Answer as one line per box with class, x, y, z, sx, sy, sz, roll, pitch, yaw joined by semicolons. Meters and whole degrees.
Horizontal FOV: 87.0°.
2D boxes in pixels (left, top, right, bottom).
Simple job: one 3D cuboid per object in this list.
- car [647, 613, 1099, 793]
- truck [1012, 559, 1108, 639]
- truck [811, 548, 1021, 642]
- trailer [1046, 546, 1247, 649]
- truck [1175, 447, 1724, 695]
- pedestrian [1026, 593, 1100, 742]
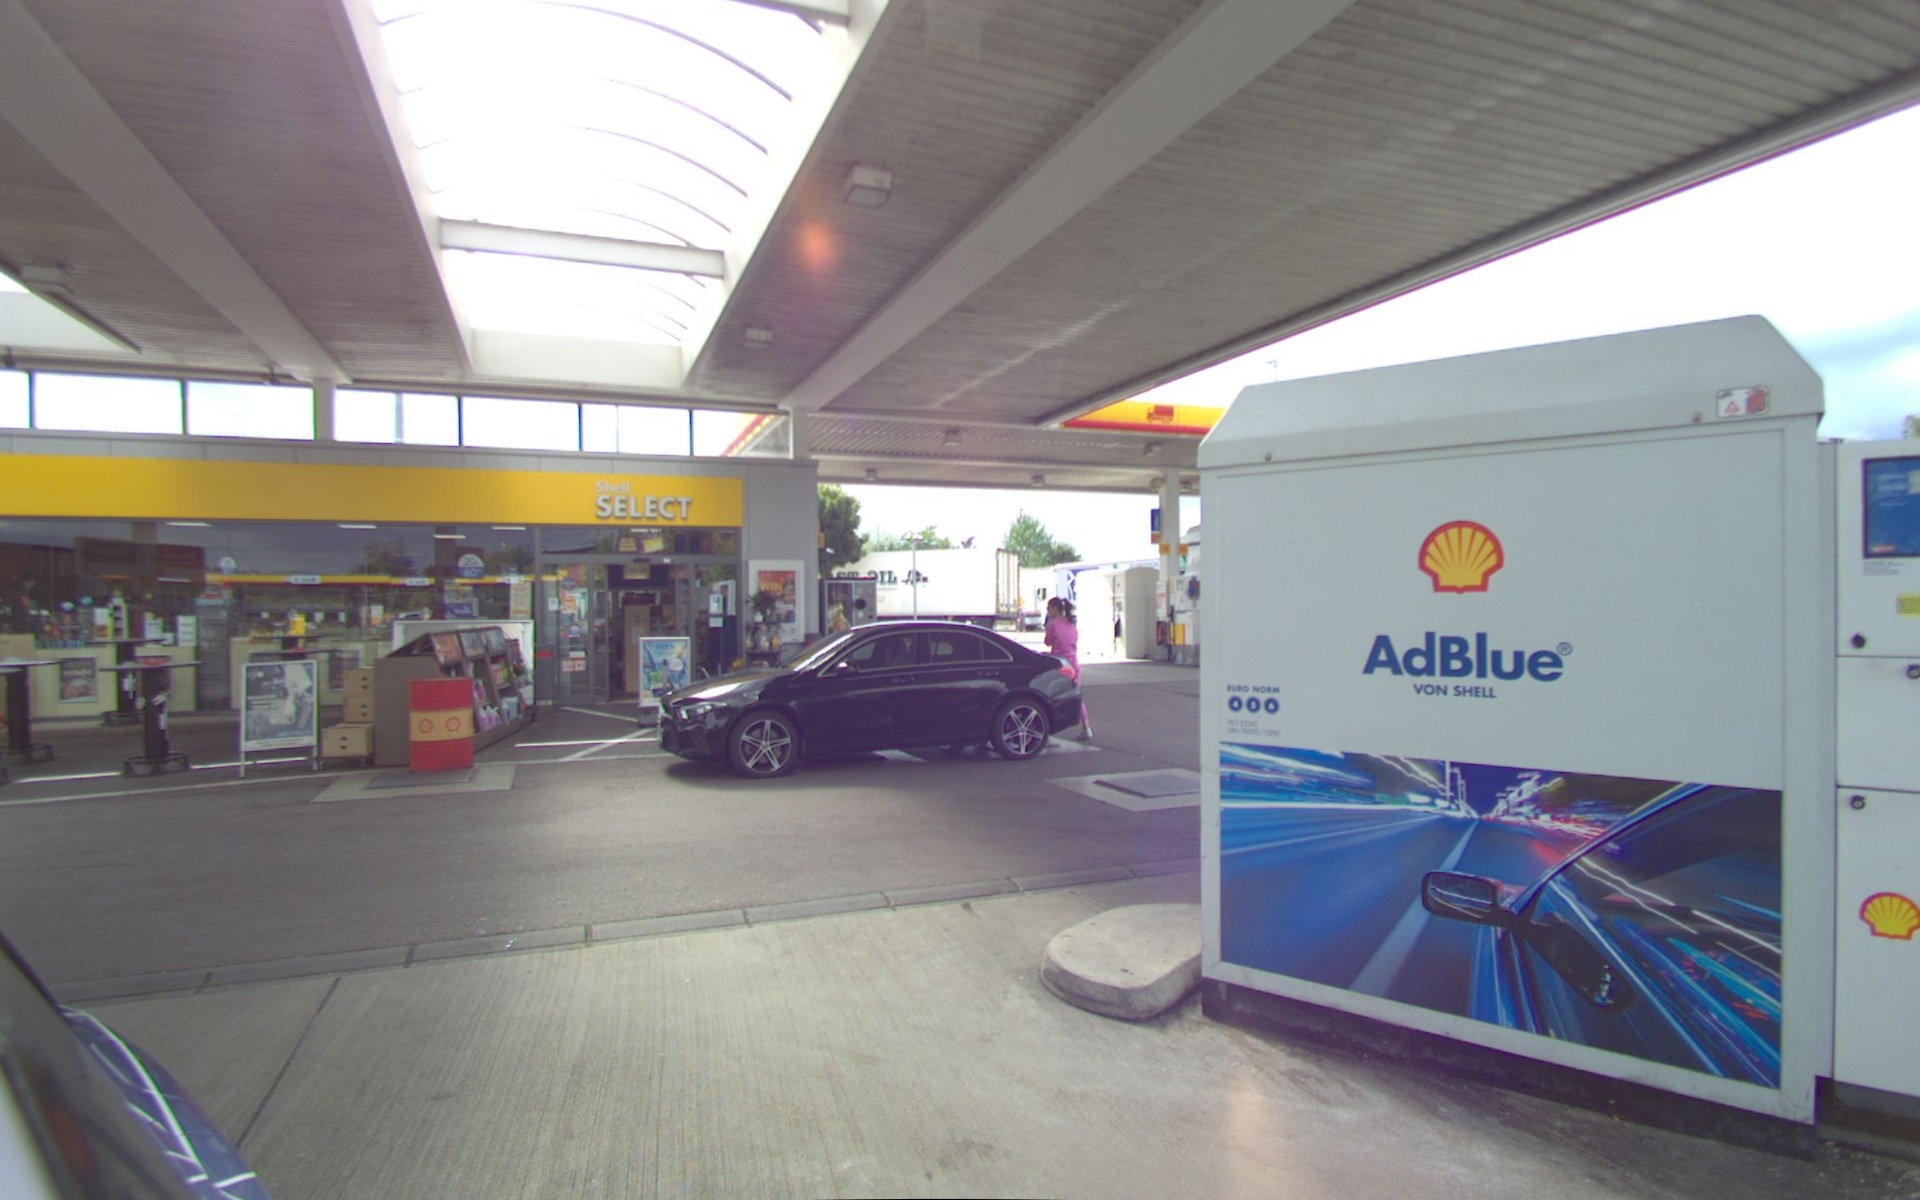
car;-0.922;0.939;10.651;4.394;1.511;1.785;-1;0;-21
truck;5.922;-0.050;61.209;3.333;4.538;6.249;-1;0;-20
truck;-2.106;-0.183;46.826;9.536;4.036;2.772;-1;0;25
trailer;9.101;-0.101;52.662;3.294;4.600;14.397;-1;0;-20
truck;9.656;-0.467;23.090;2.491;4.069;12.947;-1;0;-22
pedestrian;1.237;0.781;12.160;0.617;1.726;0.624;-1;0;-31
